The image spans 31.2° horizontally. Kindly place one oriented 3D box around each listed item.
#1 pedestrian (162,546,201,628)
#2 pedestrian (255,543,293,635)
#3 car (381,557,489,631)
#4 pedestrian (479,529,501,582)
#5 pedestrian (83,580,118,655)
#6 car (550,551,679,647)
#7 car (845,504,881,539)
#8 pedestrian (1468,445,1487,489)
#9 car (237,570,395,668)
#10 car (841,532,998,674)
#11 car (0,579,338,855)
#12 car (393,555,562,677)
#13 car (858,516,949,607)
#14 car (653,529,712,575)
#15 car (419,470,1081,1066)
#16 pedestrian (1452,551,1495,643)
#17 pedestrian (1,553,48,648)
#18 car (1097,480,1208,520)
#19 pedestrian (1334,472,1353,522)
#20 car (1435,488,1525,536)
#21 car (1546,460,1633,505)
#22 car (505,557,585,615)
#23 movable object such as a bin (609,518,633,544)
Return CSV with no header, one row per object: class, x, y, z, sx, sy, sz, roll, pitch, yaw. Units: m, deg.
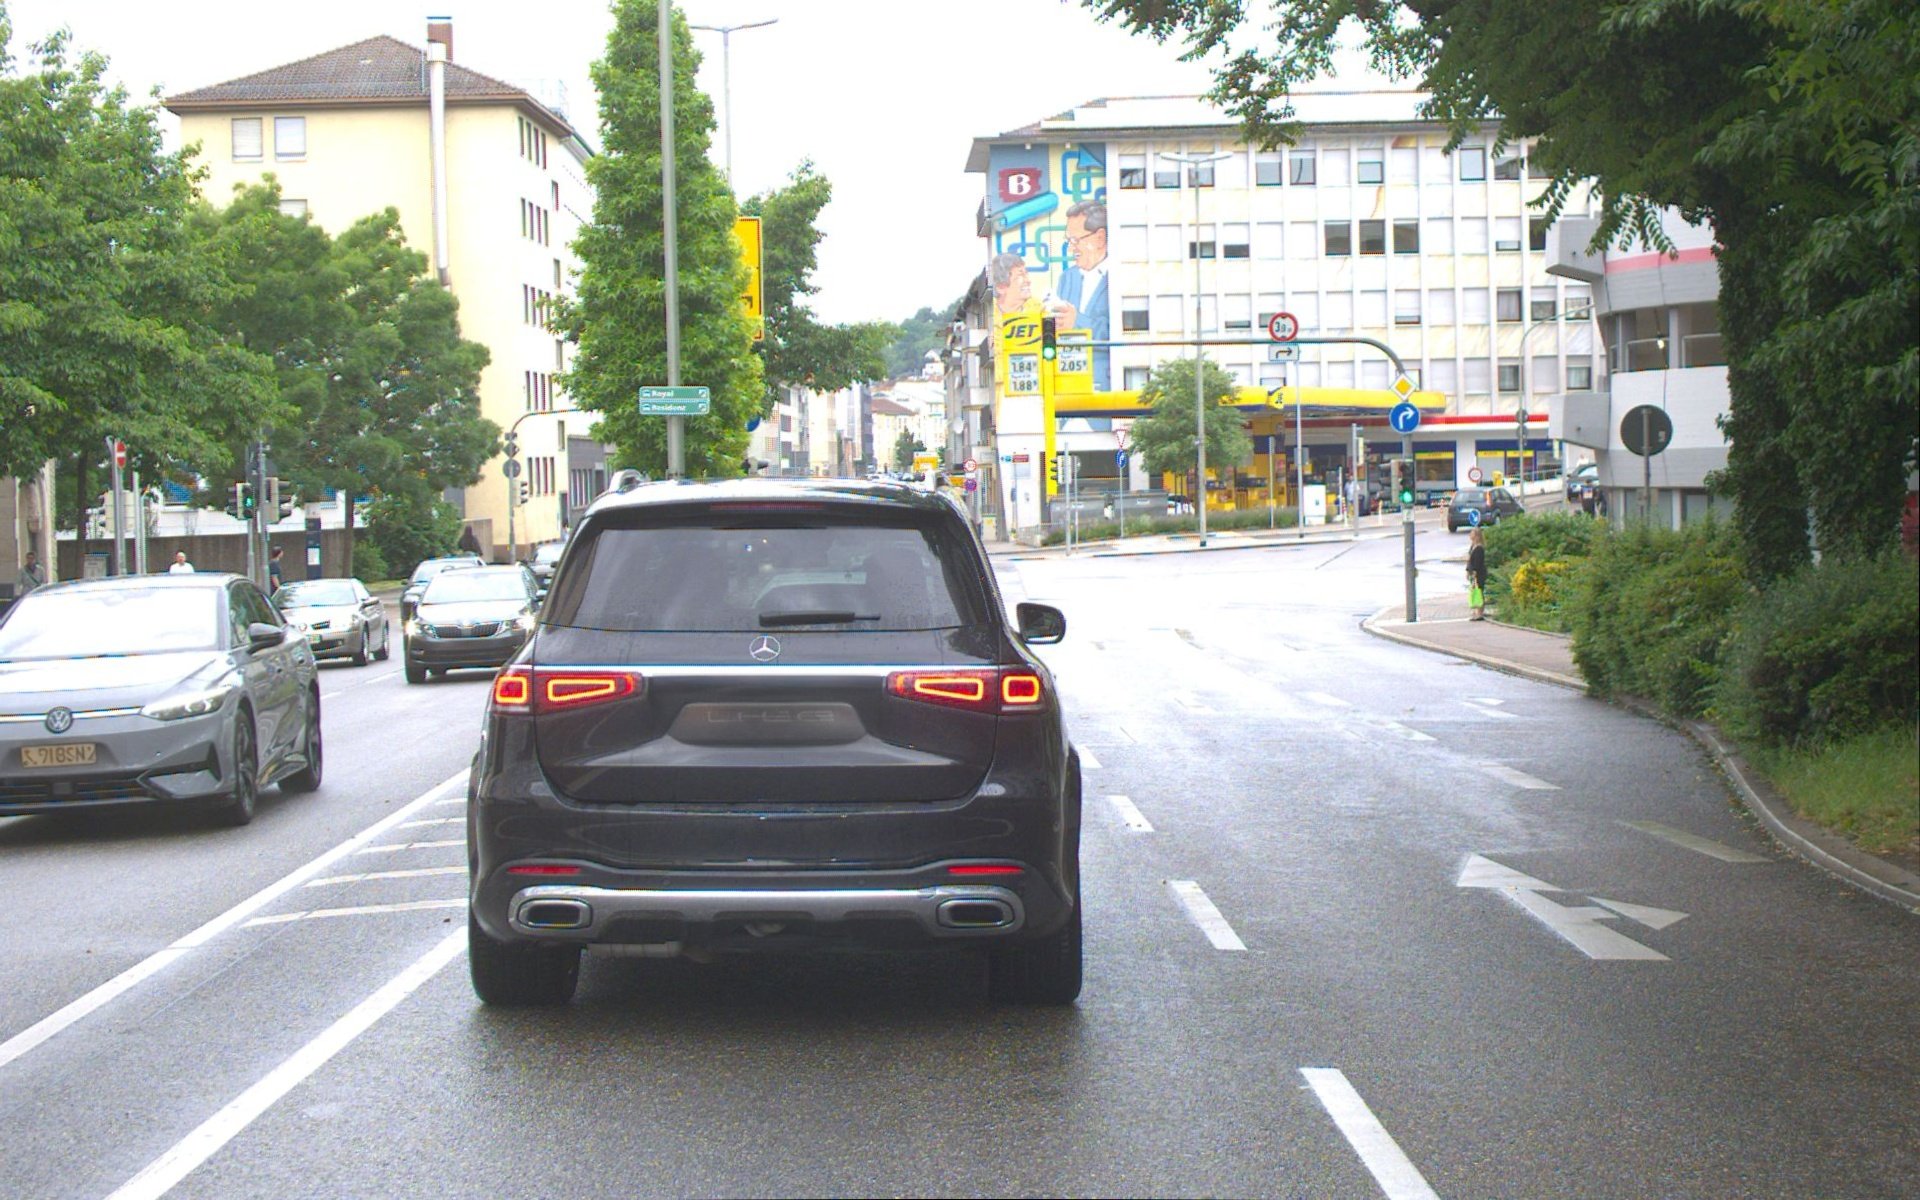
pedestrian,-16.027,-0.268,70.793,0.689,1.650,0.613,-2,1,-7
pedestrian,-13.322,-0.224,66.763,0.687,1.751,0.718,-1,1,-11
car,-11.058,-0.148,72.590,1.745,1.407,3.971,-3,1,-2
pedestrian,-15.424,-1.469,112.849,0.648,1.721,0.629,-2,1,-4
pedestrian,-17.686,0.358,70.733,0.439,1.528,0.545,-1,2,14
car,-7.044,-0.054,70.484,1.891,1.805,4.574,-3,1,3
car,-5.864,-4.760,208.495,1.993,2.007,4.000,1,0,0
pedestrian,20.447,-5.267,135.901,0.526,1.721,0.688,0,2,27
car,-10.215,0.274,54.806,1.829,1.383,4.230,-3,1,-2
car,-0.539,0.030,45.921,1.993,1.794,4.000,1,0,-1
car,-5.215,0.659,21.761,1.883,1.493,4.562,-2,1,-3
car,-6.420,0.193,46.118,1.811,1.457,4.289,-3,0,-3
car,-1.288,-0.860,78.215,1.993,2.007,4.000,1,0,-1
car,-10.211,-1.772,126.690,1.888,1.581,4.537,-3,1,-2
car,-0.661,0.506,12.485,1.993,1.794,4.000,1,0,-1
pedestrian,9.639,-0.054,64.526,0.646,1.704,0.470,0,0,36
pedestrian,-16.596,0.004,61.001,0.642,1.660,1.019,1,0,-6
car,7.138,-3.707,127.829,1.732,1.371,3.998,-3,2,-44
pedestrian,13.318,-3.579,119.477,0.572,1.692,0.631,1,0,1
car,17.145,-2.892,113.291,1.799,1.520,4.050,1,2,26
car,25.256,-4.730,137.770,1.997,1.700,3.993,-1,2,33
car,-10.893,-0.378,90.427,1.732,1.389,4.200,-3,1,-3
movable object such as a bin,-13.839,-2.811,140.364,0.910,1.034,0.844,1,0,1
